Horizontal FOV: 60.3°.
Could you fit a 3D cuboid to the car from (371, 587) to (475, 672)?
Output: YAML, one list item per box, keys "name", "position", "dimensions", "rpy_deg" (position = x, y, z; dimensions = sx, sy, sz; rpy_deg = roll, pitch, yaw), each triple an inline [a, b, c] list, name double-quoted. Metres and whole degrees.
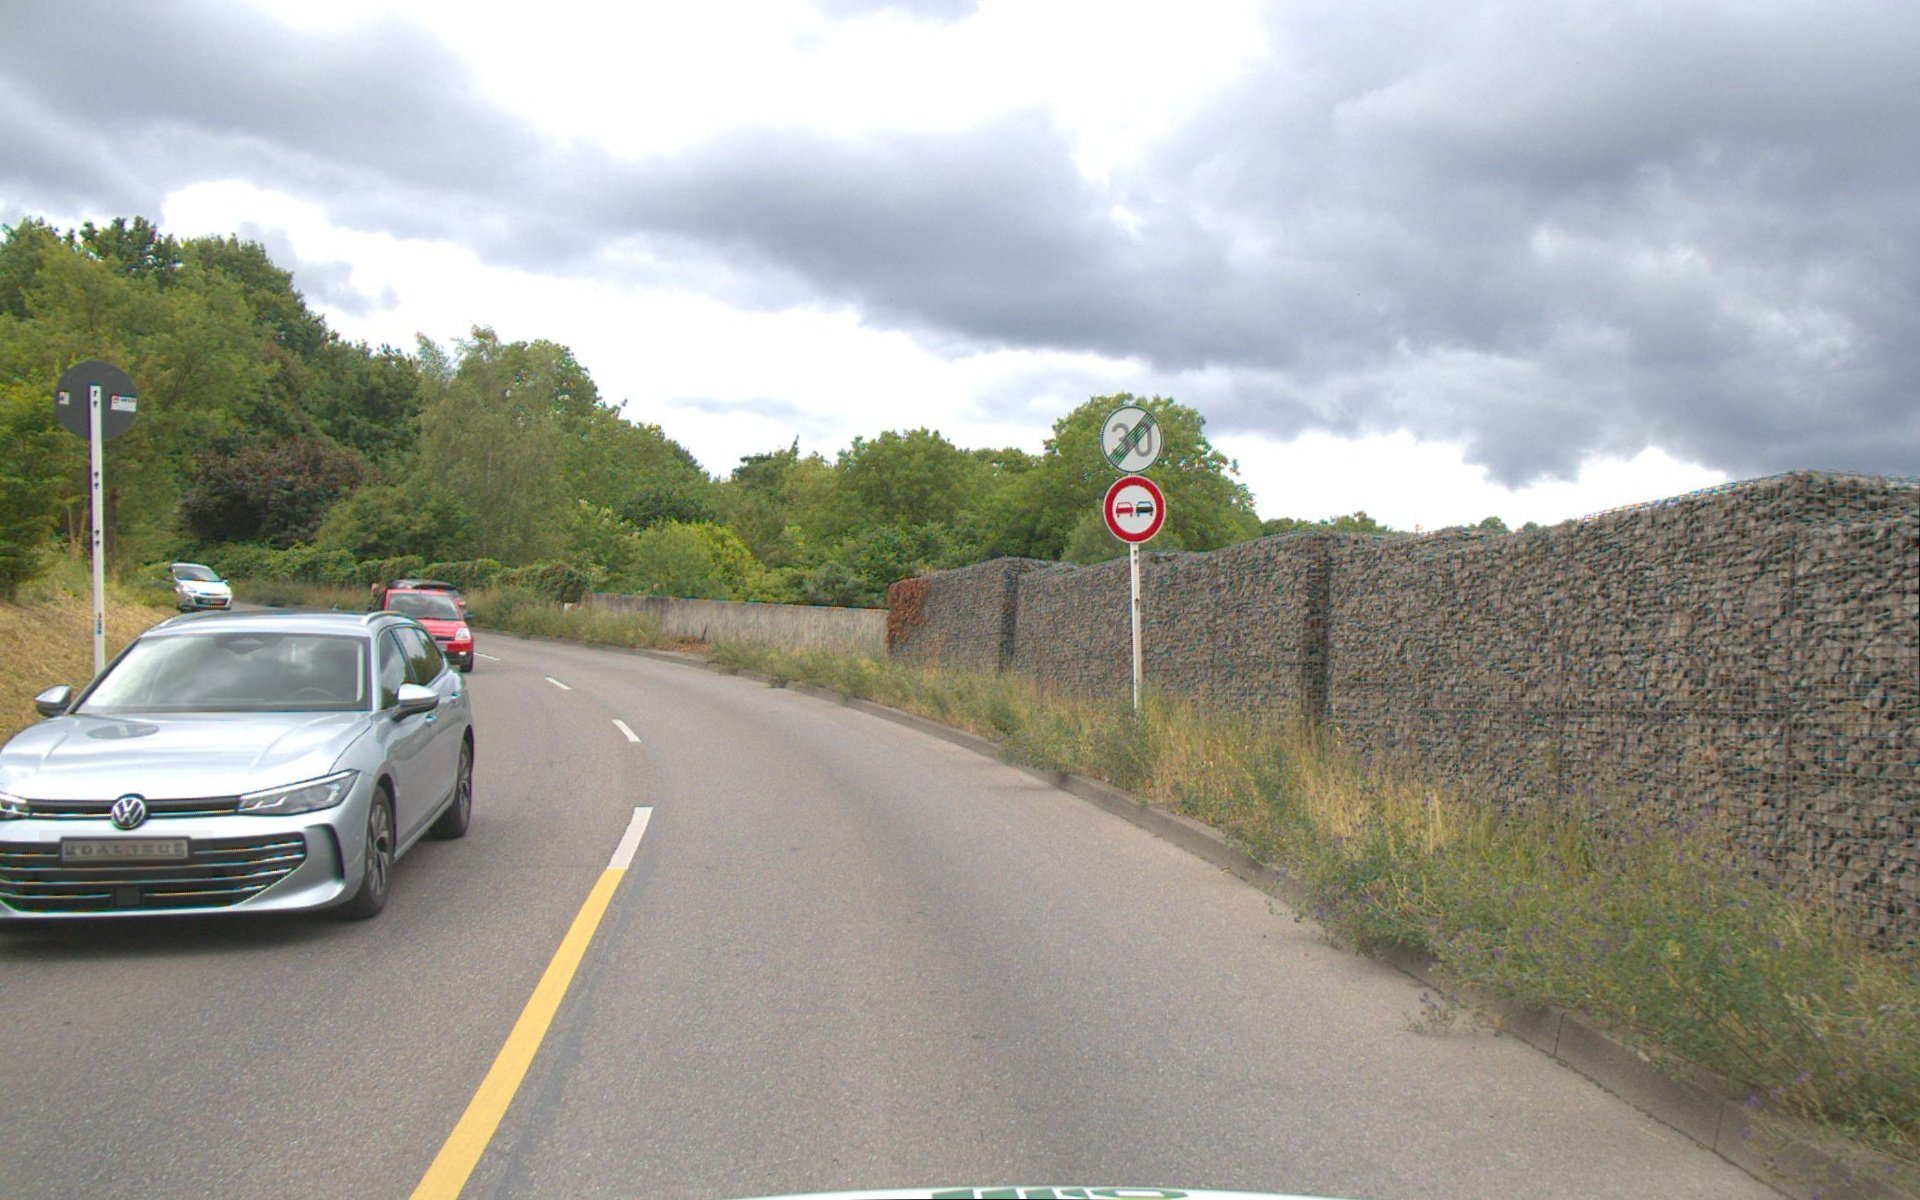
- name: "car"
  position: [-10.199, 0.529, 31.369]
  dimensions: [1.715, 1.441, 3.733]
  rpy_deg: [2, 0, -19]

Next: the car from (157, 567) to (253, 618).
- name: "car"
  position: [-23.839, -0.233, 52.182]
  dimensions: [1.764, 1.521, 3.857]
  rpy_deg: [2, -1, -40]

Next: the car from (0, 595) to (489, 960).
- name: "car"
  position: [-3.887, 0.746, 9.381]
  dimensions: [1.847, 1.503, 4.591]
  rpy_deg: [0, 1, -10]

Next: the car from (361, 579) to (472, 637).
- name: "car"
  position: [-15.021, 0.183, 45.599]
  dimensions: [1.825, 1.509, 3.950]
  rpy_deg: [0, 1, -36]
